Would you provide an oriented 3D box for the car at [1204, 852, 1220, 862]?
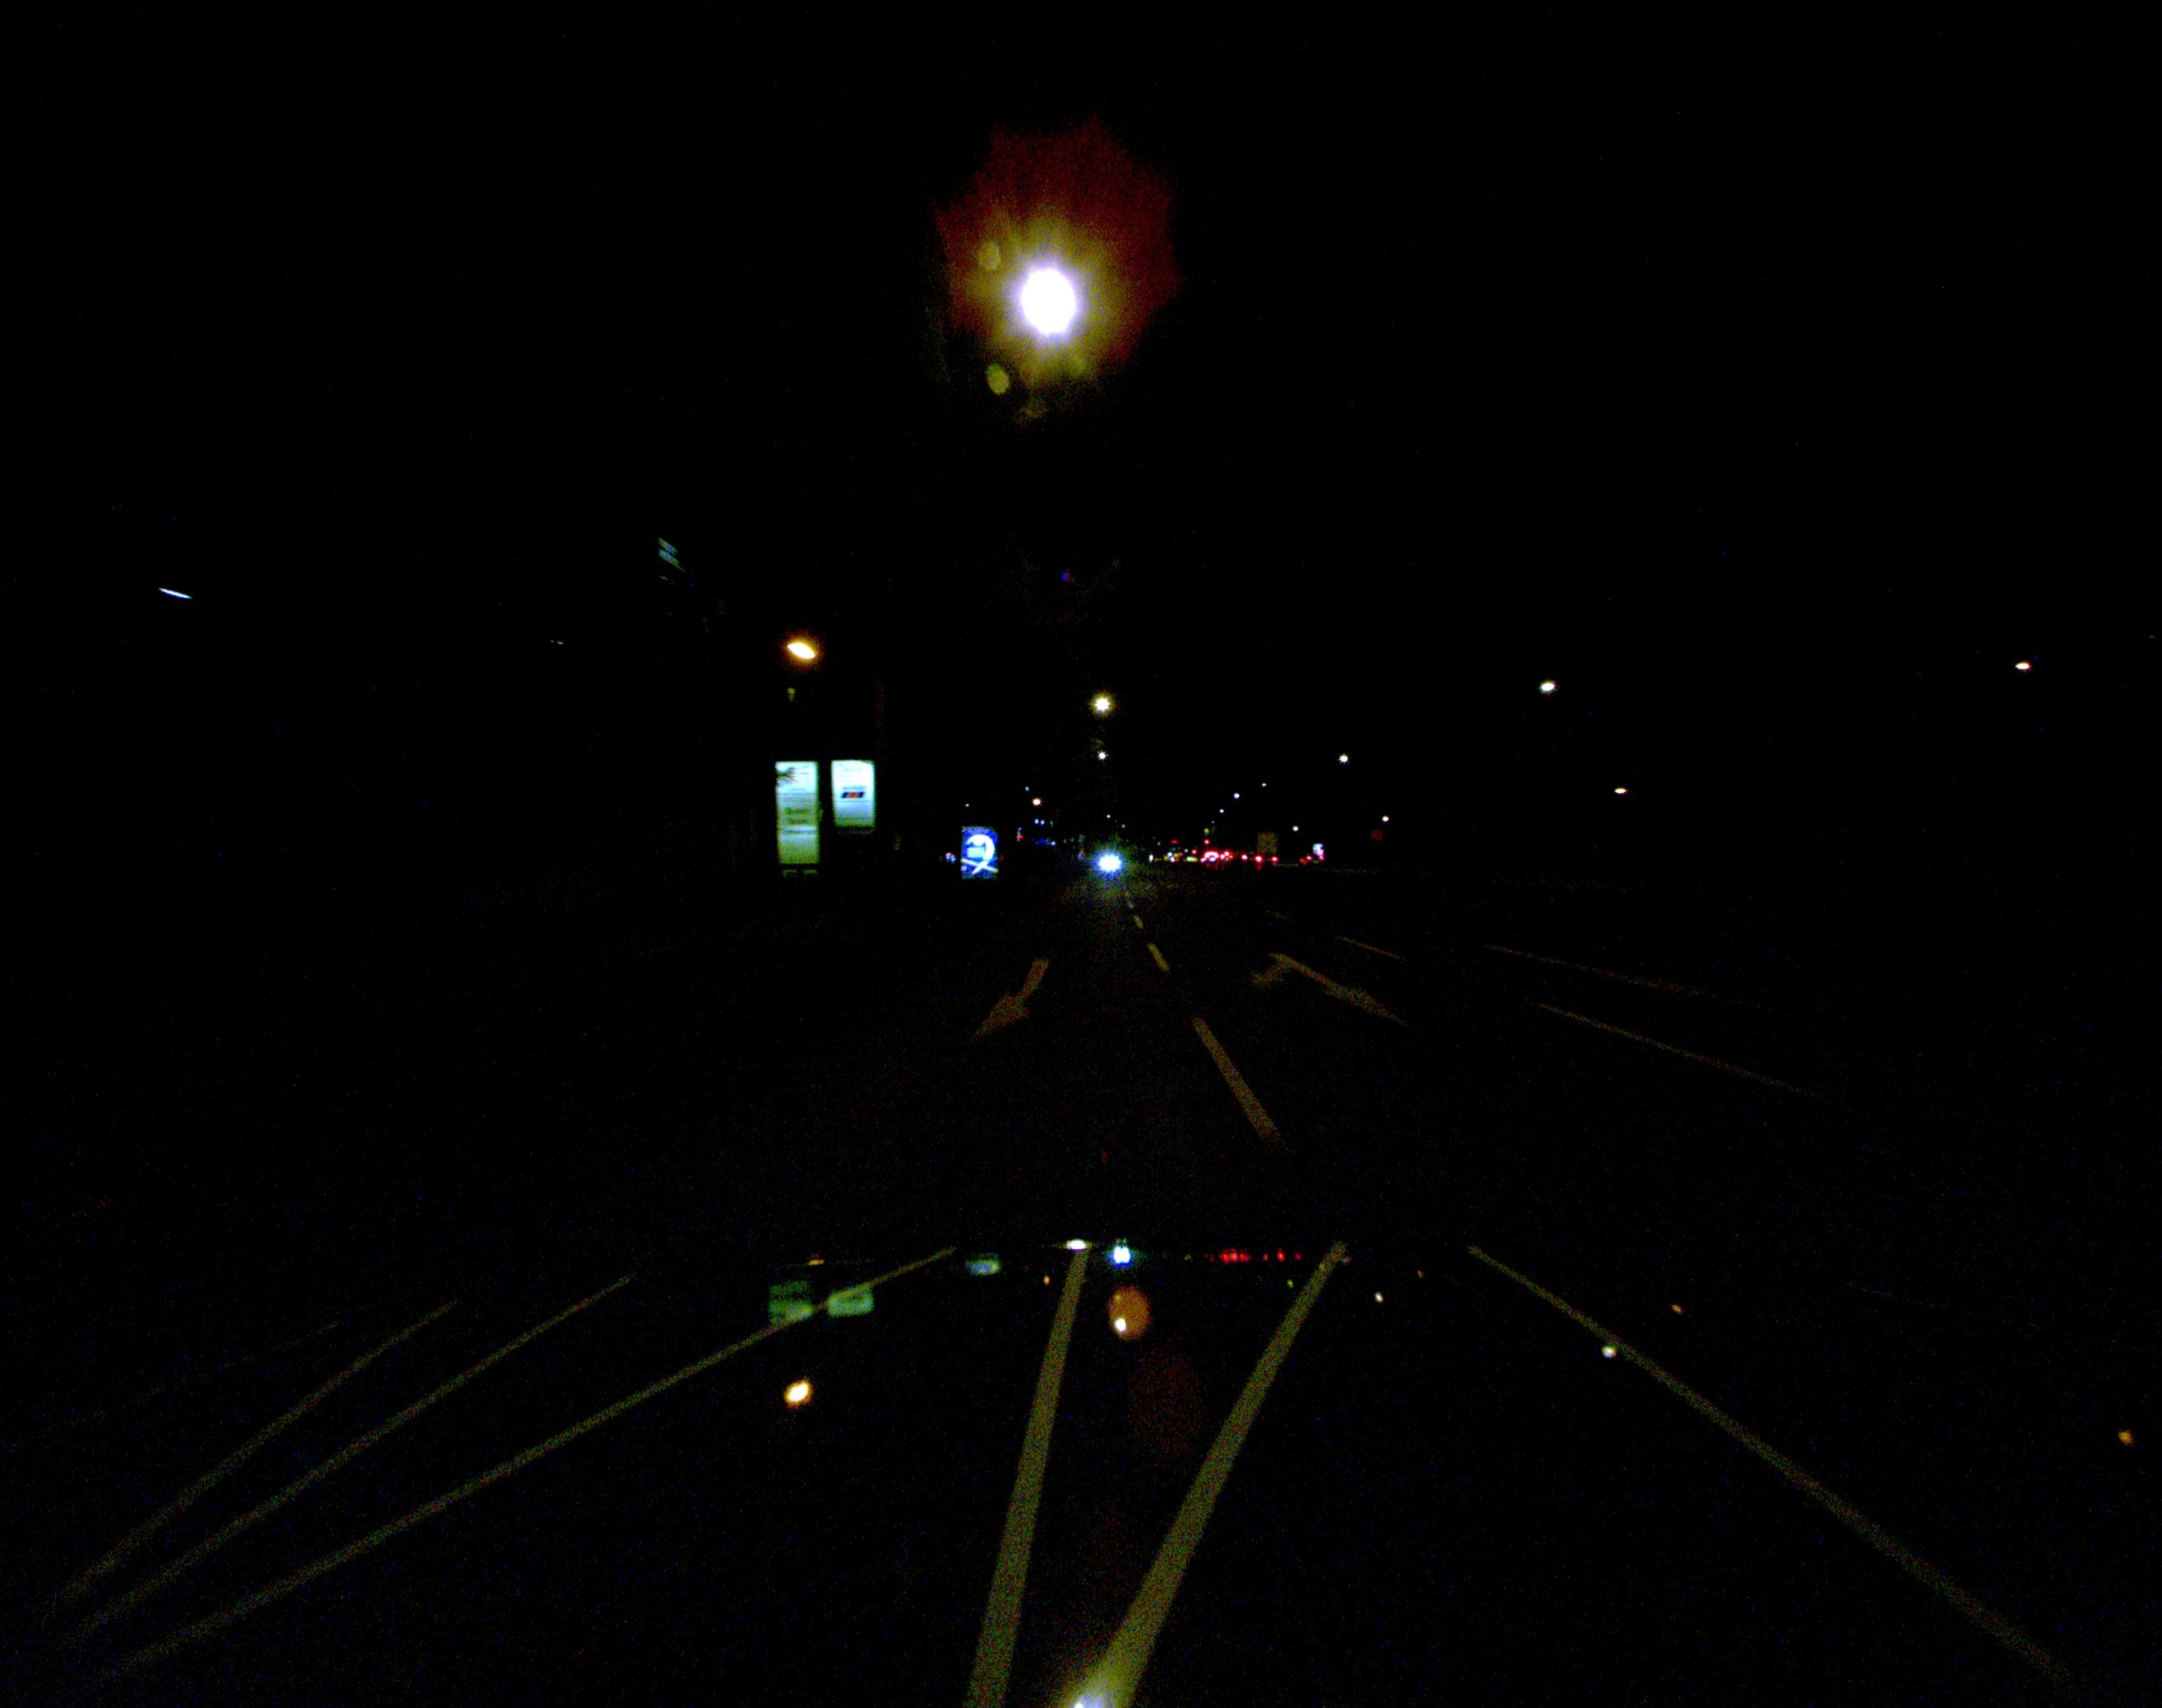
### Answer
[{"bbox_3d":[20.901,0.450,121.551,1.809,1.490,4.084,-1,1,-1],"label":"car"}]

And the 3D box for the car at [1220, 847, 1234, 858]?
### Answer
[{"bbox_3d":[24.344,-0.266,126.785,1.729,1.616,3.962,-2,1,3],"label":"car"}]

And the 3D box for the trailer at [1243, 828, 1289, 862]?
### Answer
[{"bbox_3d":[23.420,-1.135,96.523,3.705,3.967,8.394,-2,1,1],"label":"trailer"}]

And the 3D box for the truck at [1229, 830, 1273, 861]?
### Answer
[{"bbox_3d":[23.565,-1.242,105.984,3.690,3.932,10.420,-2,1,1],"label":"truck"}]

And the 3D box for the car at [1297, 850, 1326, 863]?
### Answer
[{"bbox_3d":[25.786,0.263,84.978,1.991,1.472,4.203,1,0,1],"label":"car"}]

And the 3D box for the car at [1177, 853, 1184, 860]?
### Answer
[{"bbox_3d":[29.135,0.835,222.468,1.794,1.896,4.001,-2,1,7],"label":"car"}]
